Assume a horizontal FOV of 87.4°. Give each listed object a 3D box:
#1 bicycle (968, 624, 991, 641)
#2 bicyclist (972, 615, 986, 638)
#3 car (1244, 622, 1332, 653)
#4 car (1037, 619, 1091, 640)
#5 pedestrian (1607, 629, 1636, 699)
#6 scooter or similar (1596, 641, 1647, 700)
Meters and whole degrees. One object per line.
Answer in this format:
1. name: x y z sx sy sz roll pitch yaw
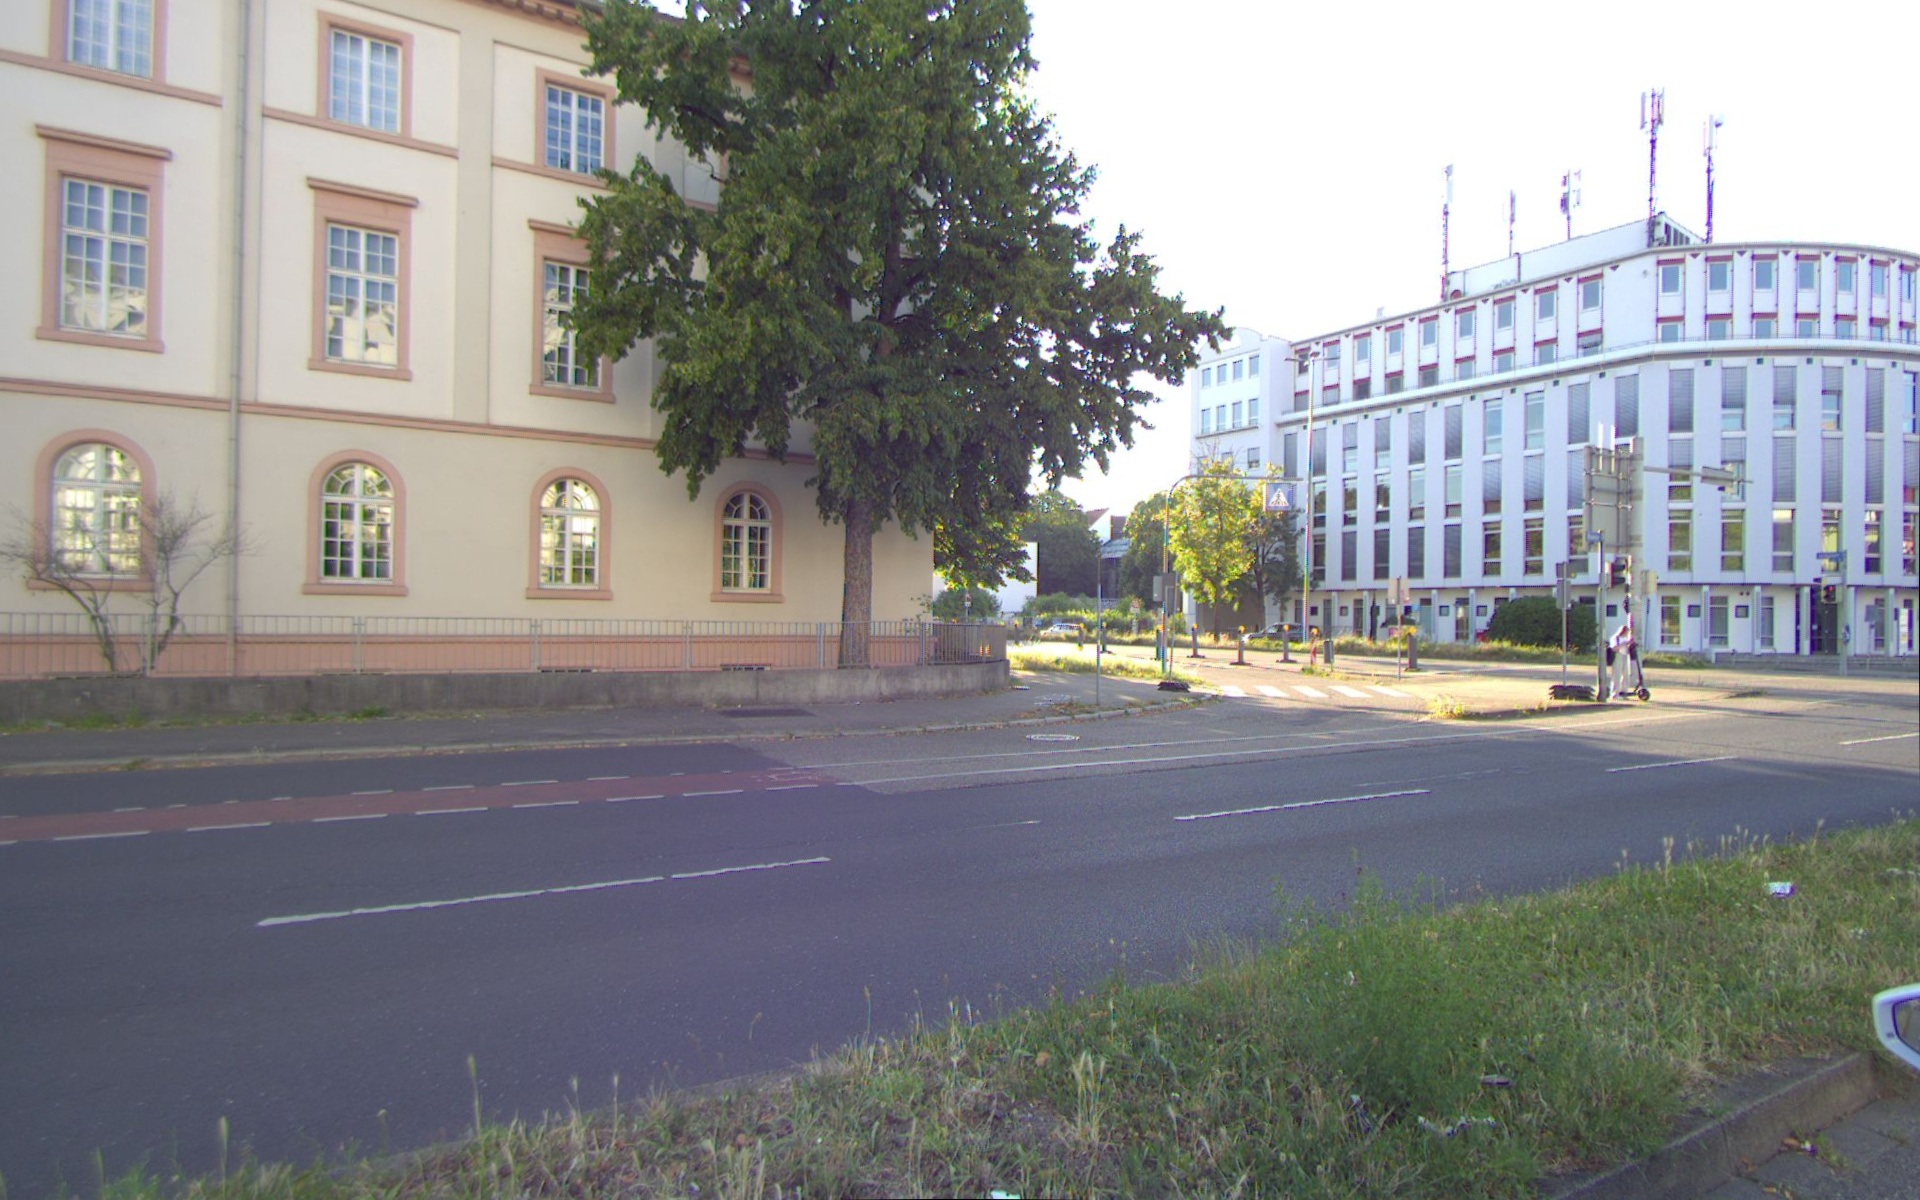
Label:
1. bicycle: 1.252 2.071 64.897 0.498 1.056 1.786 1 -1 -35
2. bicyclist: 1.217 1.706 64.949 0.453 1.516 0.879 1 -1 -36
3. car: 17.482 1.983 53.763 1.770 1.570 4.310 1 -1 -35
4. car: 7.602 2.159 73.514 1.770 1.439 3.961 1 -1 -35
5. pedestrian: 14.700 1.404 22.325 0.332 1.525 0.470 1 -1 -41
6. scooter or similar: 14.590 1.540 22.170 0.368 1.250 0.885 1 -1 -40
